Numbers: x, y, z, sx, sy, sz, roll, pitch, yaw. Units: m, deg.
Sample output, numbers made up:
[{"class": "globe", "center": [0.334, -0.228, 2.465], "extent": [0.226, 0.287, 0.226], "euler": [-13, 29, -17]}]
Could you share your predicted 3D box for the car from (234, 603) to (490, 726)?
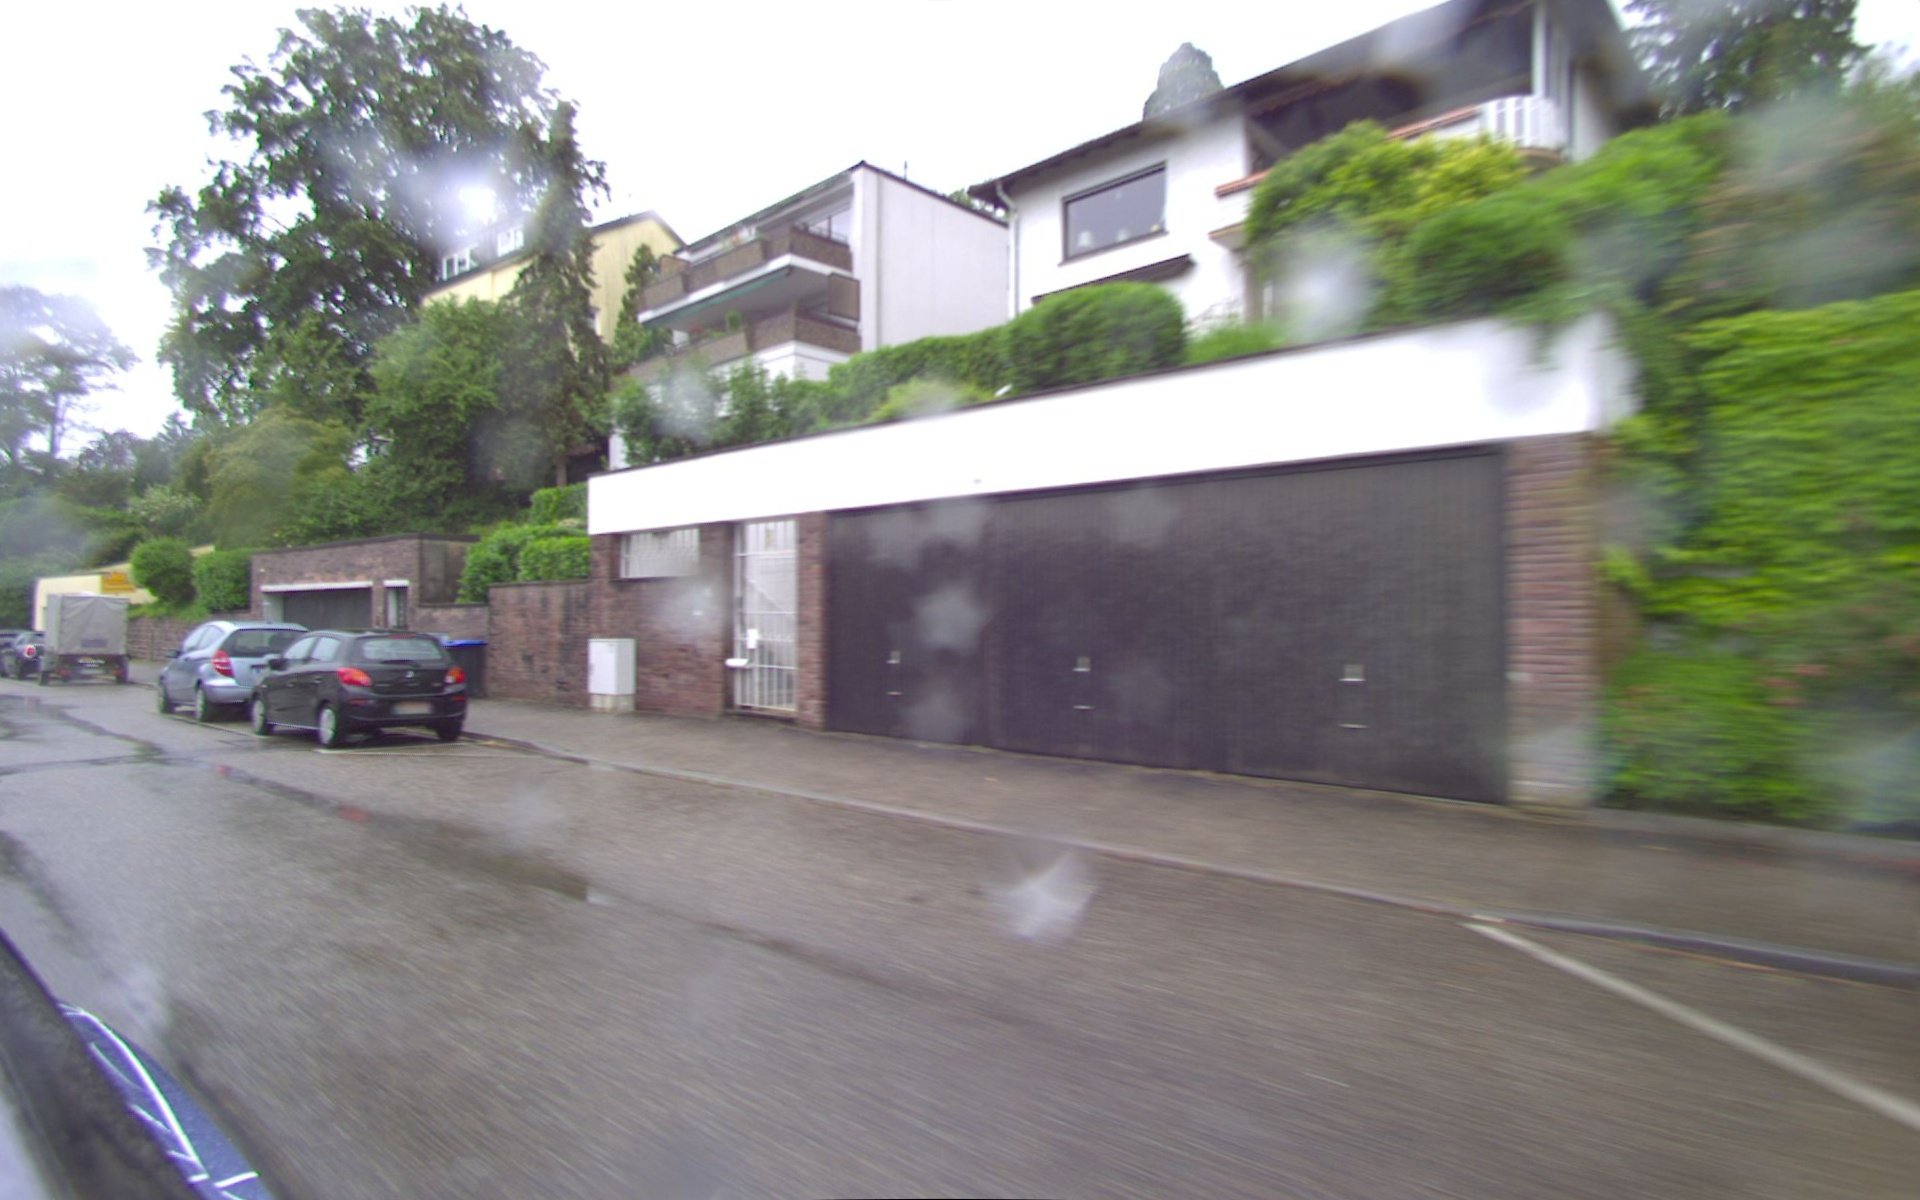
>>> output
[{"class": "car", "center": [-8.056, 0.856, 13.539], "extent": [3.701, 1.420, 1.738], "euler": [-2, -5, 40]}]

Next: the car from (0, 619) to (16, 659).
[{"class": "car", "center": [-37.375, 1.460, 38.120], "extent": [4.747, 1.466, 1.769], "euler": [-2, -5, 37]}]

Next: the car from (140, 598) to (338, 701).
[{"class": "car", "center": [-12.239, 0.851, 17.114], "extent": [3.753, 1.551, 1.738], "euler": [-2, -5, 40]}]

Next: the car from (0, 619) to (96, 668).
[{"class": "car", "center": [-27.414, 1.308, 30.158], "extent": [3.771, 1.360, 1.791], "euler": [-2, -4, 38]}]

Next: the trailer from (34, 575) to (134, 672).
[{"class": "trailer", "center": [-23.362, 0.667, 26.965], "extent": [3.072, 2.418, 1.520], "euler": [-2, -5, 42]}]

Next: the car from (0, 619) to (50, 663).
[{"class": "car", "center": [-32.704, 1.395, 34.509], "extent": [4.211, 1.426, 1.768], "euler": [-2, -4, 38]}]
